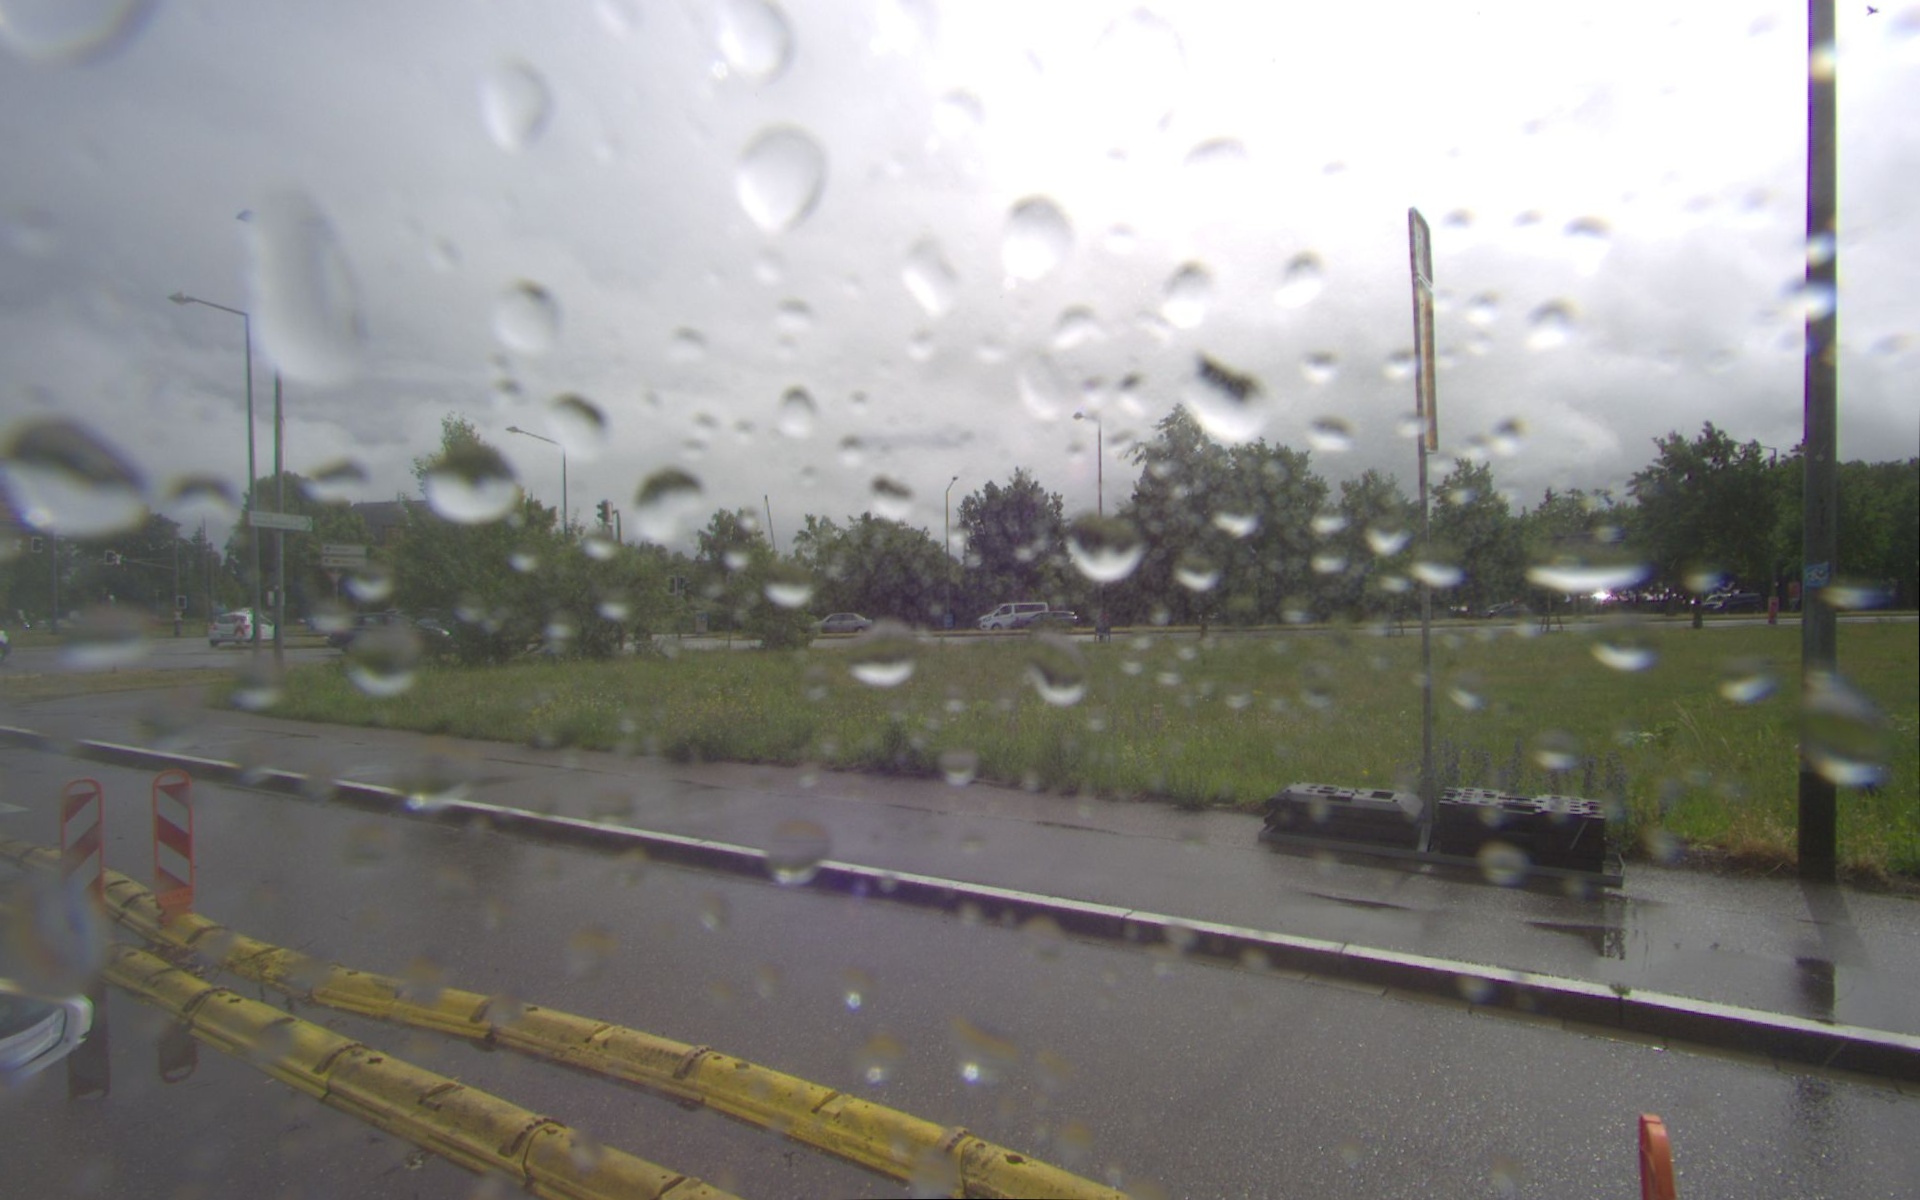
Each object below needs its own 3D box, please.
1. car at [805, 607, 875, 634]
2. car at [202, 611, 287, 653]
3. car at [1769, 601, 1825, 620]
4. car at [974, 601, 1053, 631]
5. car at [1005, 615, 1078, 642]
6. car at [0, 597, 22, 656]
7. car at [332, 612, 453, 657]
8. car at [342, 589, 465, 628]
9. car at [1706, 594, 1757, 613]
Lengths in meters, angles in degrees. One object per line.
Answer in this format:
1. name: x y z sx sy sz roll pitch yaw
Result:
1. car: -7.228 1.208 60.362 4.038 1.581 1.912 0 0 -12
2. car: -33.193 1.431 46.555 1.964 1.854 3.993 -1 0 -16
3. car: 72.329 0.884 86.563 1.523 1.579 3.501 -1 0 -34
4. car: 3.520 1.056 66.368 4.873 1.944 1.996 0 0 -16
5. car: 5.175 1.784 63.605 4.227 1.581 1.911 0 0 -14
6. car: -30.551 0.803 29.596 1.834 1.833 4.402 0 -1 -7
7. car: -21.872 1.287 38.662 3.907 1.666 1.658 0 -1 -38
8. car: -23.357 0.364 42.060 4.349 1.568 1.857 0 -1 -36
9. car: 63.397 0.294 82.287 3.459 1.579 1.541 0 0 -14
